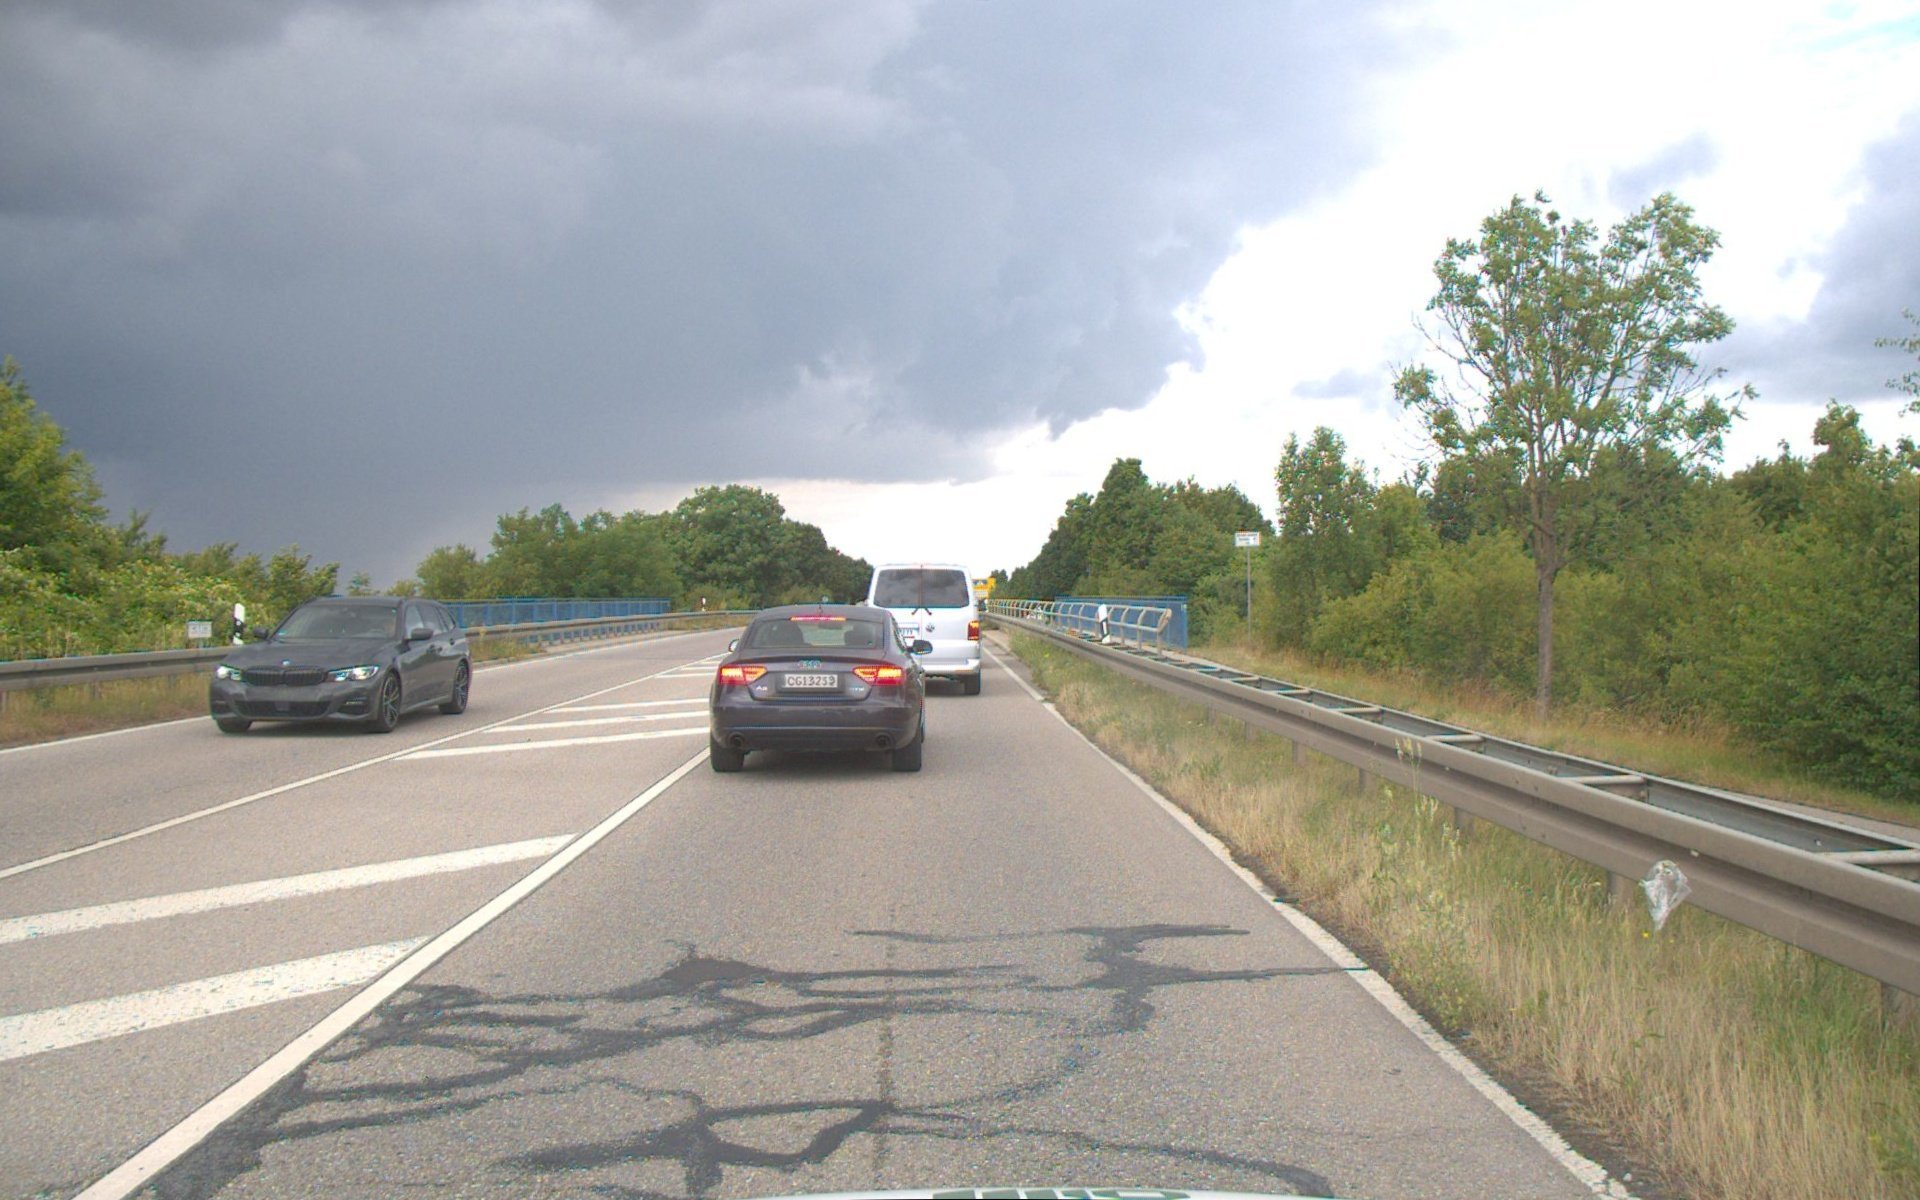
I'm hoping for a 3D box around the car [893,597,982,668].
[{"bbox_3d":[-0.455,0.658,35.412,1.784,1.405,4.071,0,0,0],"label":"car"}]

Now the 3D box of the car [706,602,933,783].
[{"bbox_3d":[-1.156,0.734,15.144,1.784,1.405,4.070,-1,0,-1],"label":"car"}]

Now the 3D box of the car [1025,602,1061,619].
[{"bbox_3d":[9.985,1.258,198.265,3.905,2.049,2.000,1,-1,21],"label":"car"}]

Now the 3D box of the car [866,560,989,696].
[{"bbox_3d":[-0.527,0.414,26.362,1.791,1.969,3.999,-1,0,-1],"label":"car"}]

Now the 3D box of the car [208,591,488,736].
[{"bbox_3d":[-6.957,0.662,19.307,1.763,1.475,4.444,-1,0,-2],"label":"car"}]
